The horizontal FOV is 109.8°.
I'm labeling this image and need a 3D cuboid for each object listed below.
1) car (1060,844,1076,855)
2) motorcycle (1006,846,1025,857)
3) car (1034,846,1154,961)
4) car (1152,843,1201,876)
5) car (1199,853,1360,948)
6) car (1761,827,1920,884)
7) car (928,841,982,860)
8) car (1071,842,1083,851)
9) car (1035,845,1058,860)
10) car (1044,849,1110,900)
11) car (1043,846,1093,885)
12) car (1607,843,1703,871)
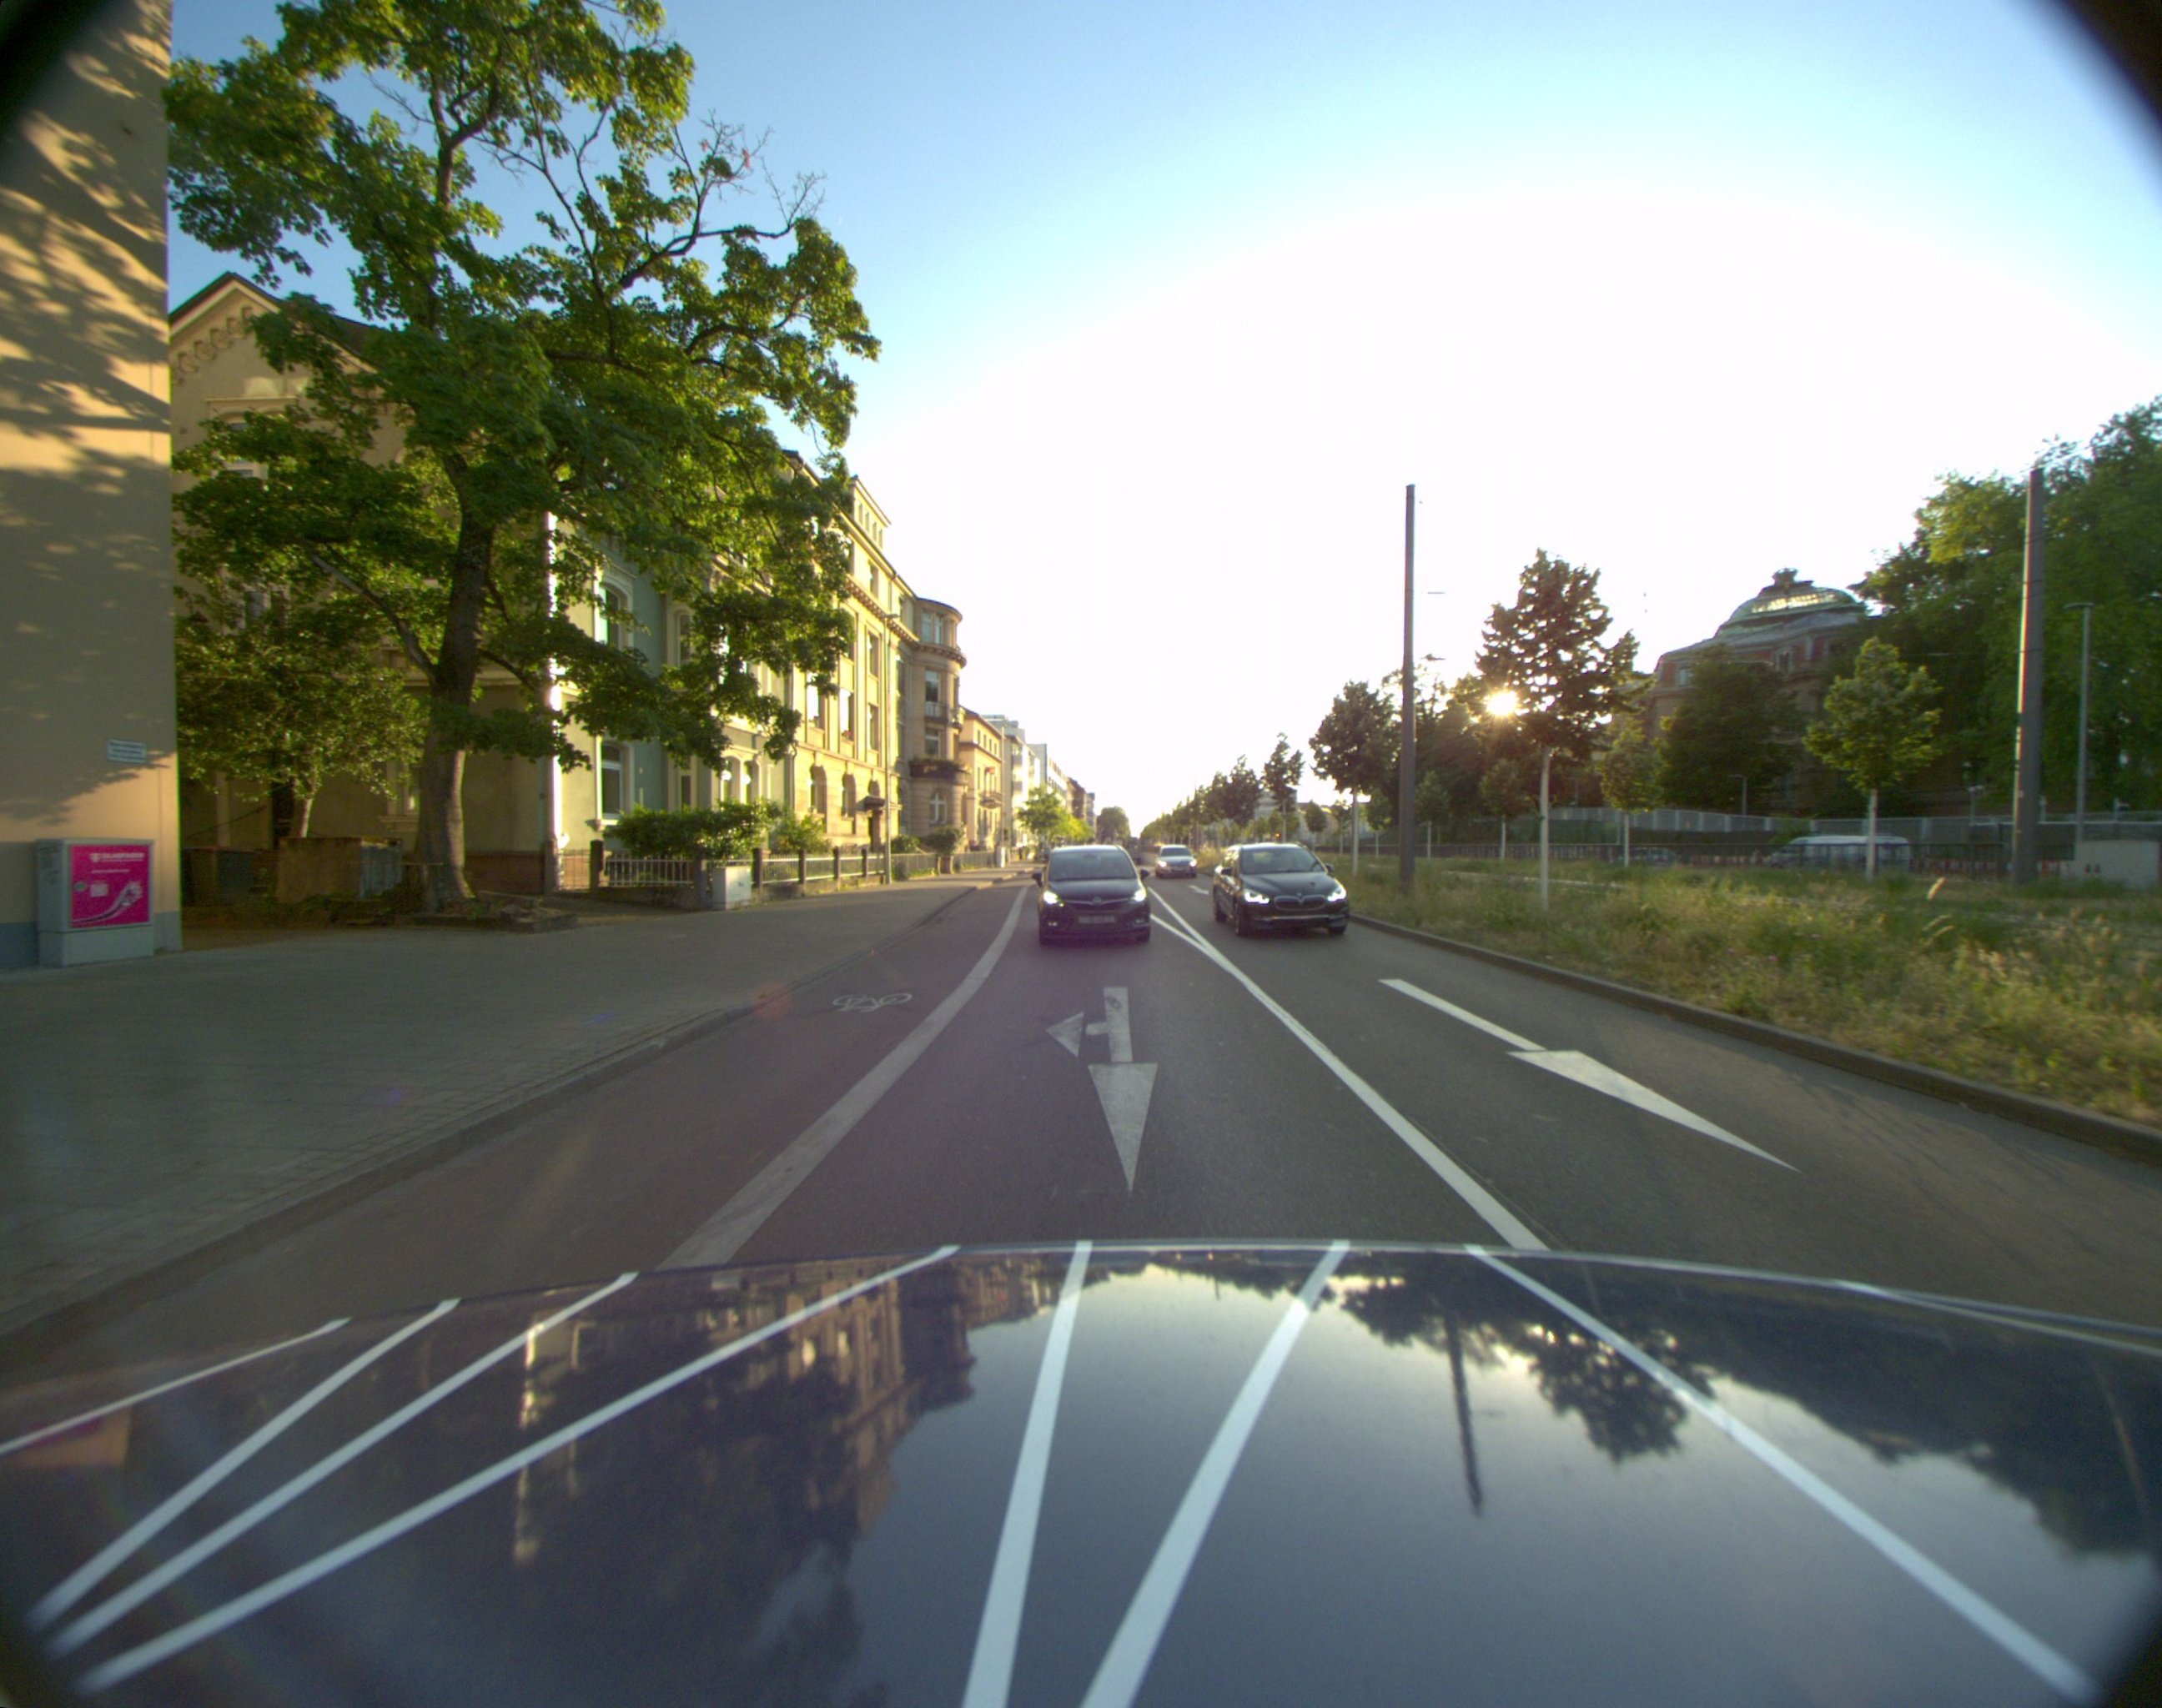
[{"bbox_3d":[-1.682,-0.593,101.578,1.937,1.473,4.100,-1,1,1],"label":"car"},{"bbox_3d":[-6.861,-0.289,79.892,1.848,1.091,0.576,-1,1,8],"label":"motorcycle"},{"bbox_3d":[0.116,0.719,13.801,1.771,1.649,4.850,-1,1,-2],"label":"car"},{"bbox_3d":[4.426,0.260,35.824,1.859,1.425,4.843,-2,0,2],"label":"car"},{"bbox_3d":[3.457,0.735,14.236,1.859,1.425,4.843,-2,0,2],"label":"car"},{"bbox_3d":[31.422,0.066,31.696,1.998,2.155,4.752,-2,0,3],"label":"car"},{"bbox_3d":[-10.492,-0.279,63.583,4.096,1.473,1.938,-1,1,3],"label":"car"},{"bbox_3d":[-0.746,-1.246,130.796,1.937,1.473,4.100,-1,1,1],"label":"car"},{"bbox_3d":[-3.286,-0.167,72.540,1.882,1.394,4.100,-1,1,1],"label":"car"},{"bbox_3d":[-0.231,0.601,24.205,1.860,1.425,4.841,-2,0,-3],"label":"car"},{"bbox_3d":[-0.503,0.434,30.987,1.859,1.425,4.842,-2,0,0],"label":"car"},{"bbox_3d":[32.056,0.175,42.620,1.998,1.472,4.523,-2,0,2],"label":"car"}]
